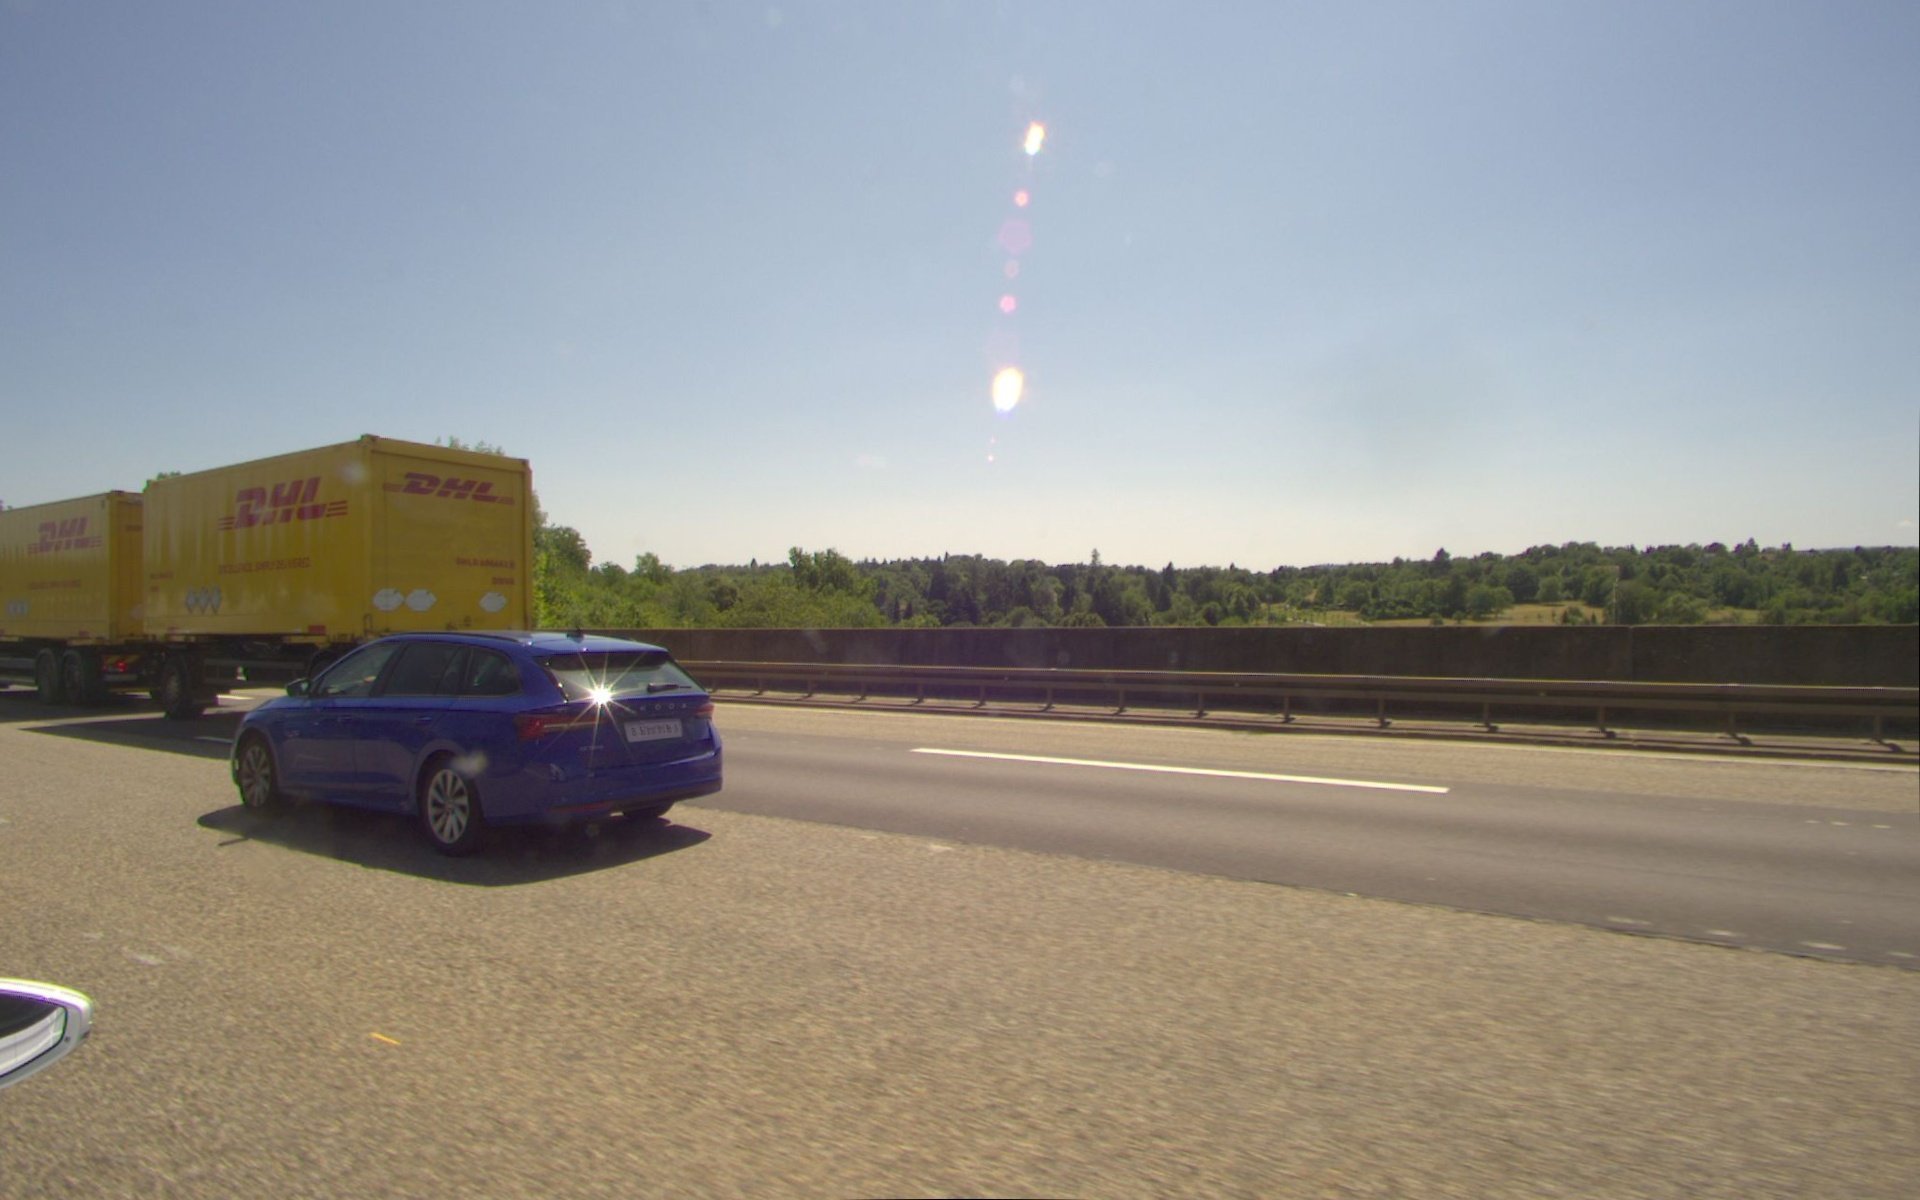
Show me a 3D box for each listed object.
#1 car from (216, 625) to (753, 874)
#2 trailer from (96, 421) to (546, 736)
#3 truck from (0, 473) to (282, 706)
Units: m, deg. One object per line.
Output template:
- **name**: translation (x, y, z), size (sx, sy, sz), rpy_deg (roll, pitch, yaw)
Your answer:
- **car**: translation (-3.811, 0.956, 7.784), size (4.364, 1.459, 1.703), rpy_deg (-1, -2, 32)
- **trailer**: translation (-11.082, -0.174, 16.913), size (9.244, 4.170, 2.761), rpy_deg (-1, -2, 33)
- **truck**: translation (-18.589, -0.067, 21.695), size (9.811, 4.161, 2.761), rpy_deg (-1, -2, 32)
